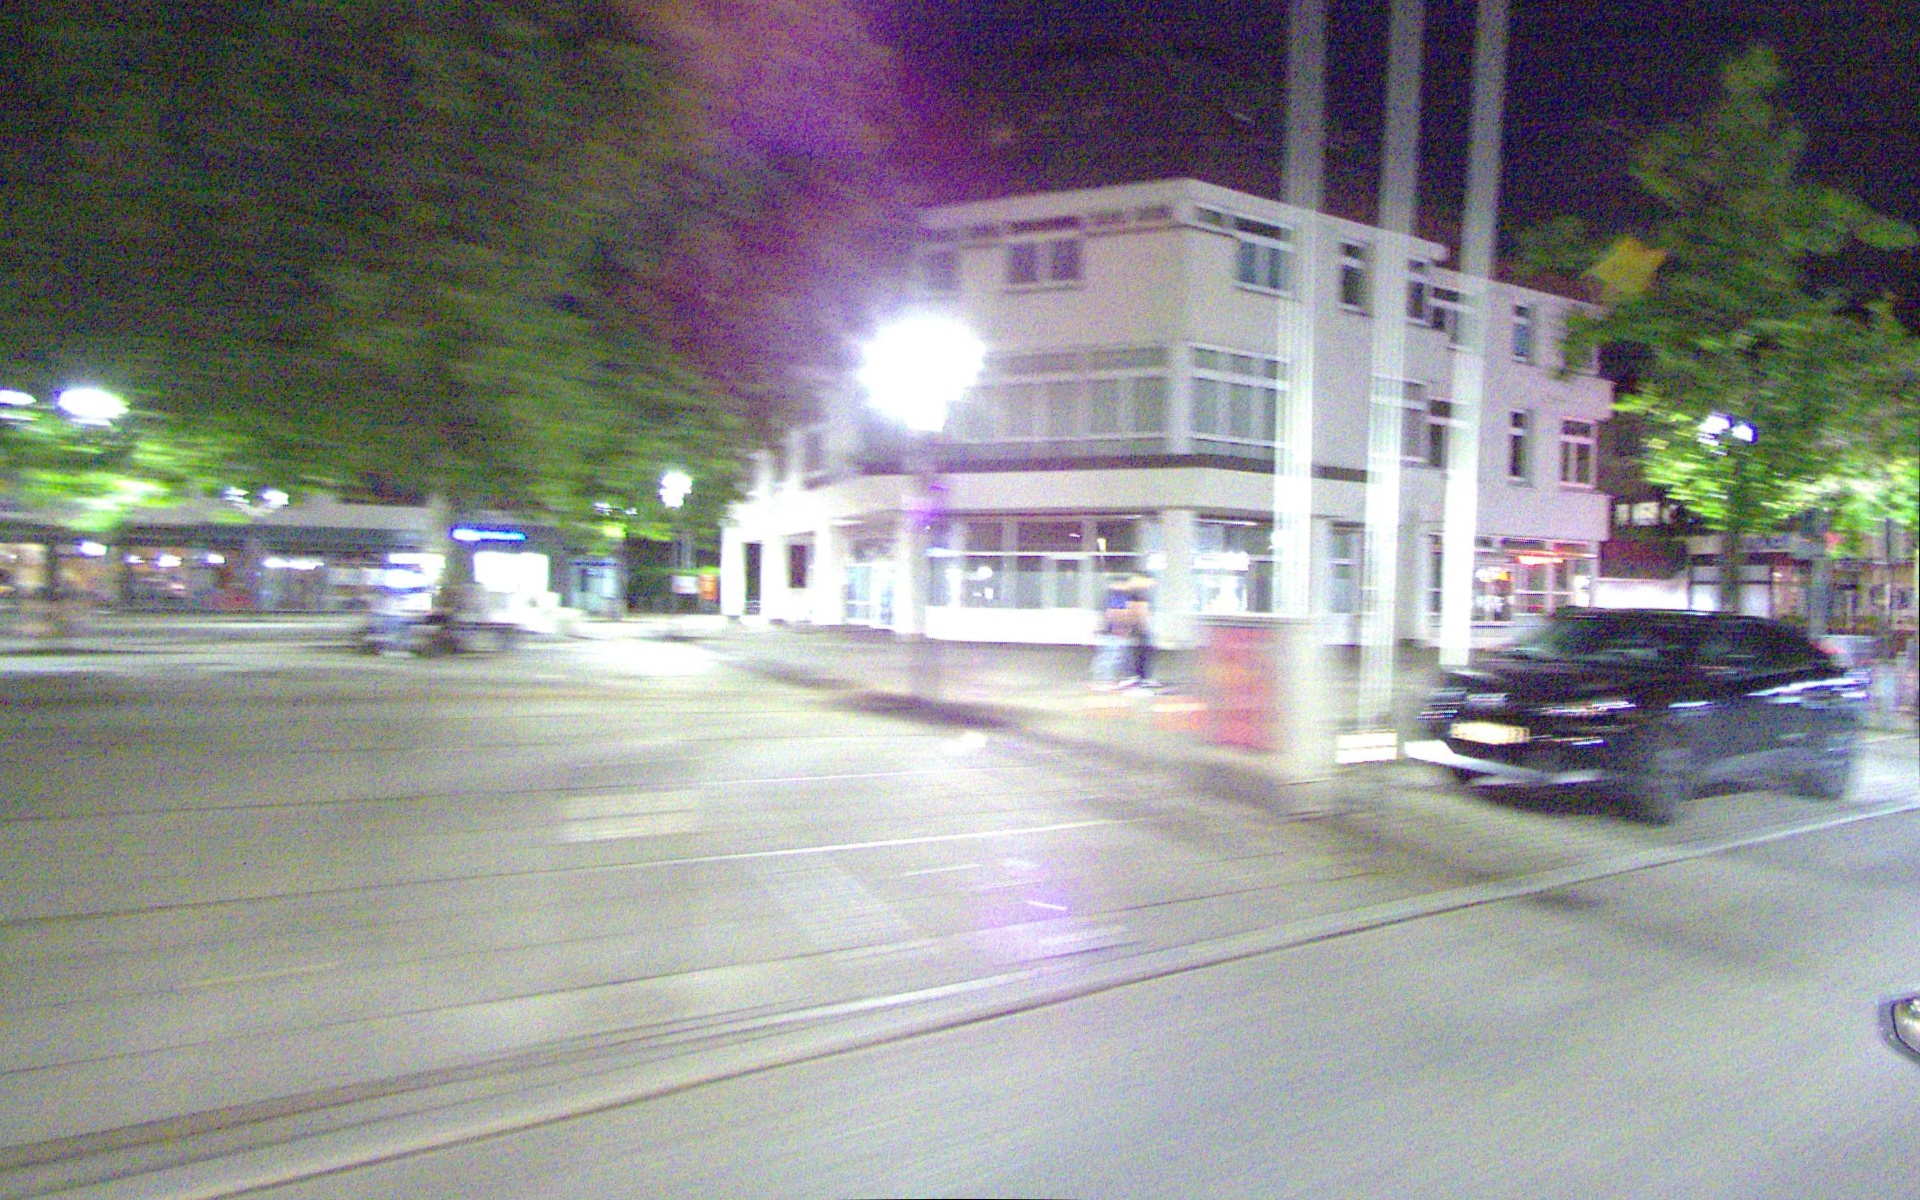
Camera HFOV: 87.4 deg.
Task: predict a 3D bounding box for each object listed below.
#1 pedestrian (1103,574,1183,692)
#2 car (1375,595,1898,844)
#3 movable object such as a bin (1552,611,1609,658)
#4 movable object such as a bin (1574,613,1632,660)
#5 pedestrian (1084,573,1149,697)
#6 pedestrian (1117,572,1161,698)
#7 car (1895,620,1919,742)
[{"bbox_3d":[2.943,0.515,16.219,1.005,1.841,0.793,2,1,-9],"label":"pedestrian"},{"bbox_3d":[5.729,0.831,8.404,4.427,1.595,1.763,1,1,-29],"label":"car"},{"bbox_3d":[19.873,1.103,32.176,1.270,1.463,1.032,2,0,-28],"label":"movable object such as a bin"},{"bbox_3d":[20.994,1.179,32.809,1.212,1.477,1.126,2,0,-28],"label":"movable object such as a bin"},{"bbox_3d":[2.430,0.526,15.708,0.775,1.856,0.880,2,1,-3],"label":"pedestrian"},{"bbox_3d":[2.684,0.517,15.061,0.494,1.846,0.502,2,-1,-5],"label":"pedestrian"},{"bbox_3d":[14.719,1.097,13.573,4.729,1.562,1.894,1,0,-32],"label":"car"}]
